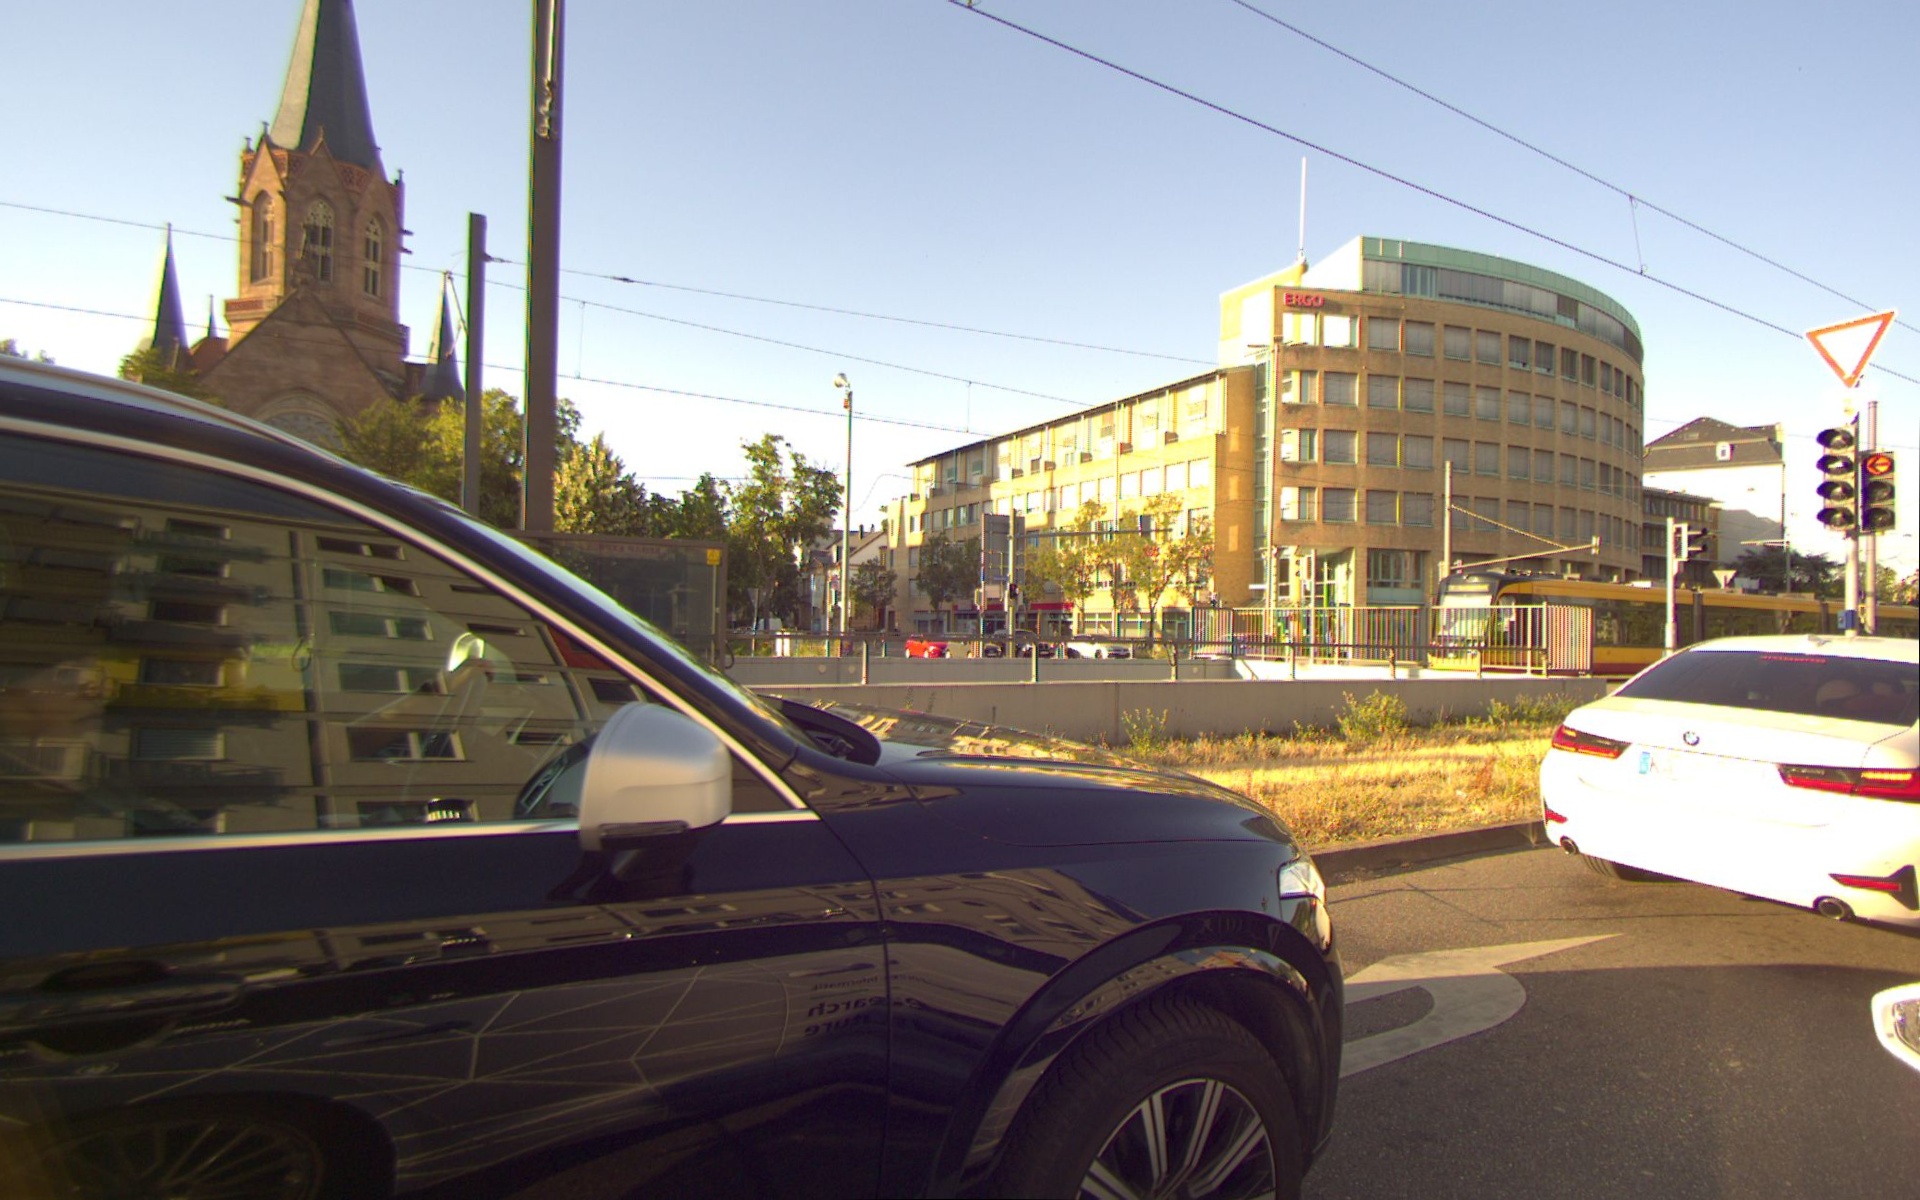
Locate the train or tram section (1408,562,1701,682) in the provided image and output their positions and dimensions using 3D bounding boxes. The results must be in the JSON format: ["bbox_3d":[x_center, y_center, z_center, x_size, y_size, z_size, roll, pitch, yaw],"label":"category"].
[{"bbox_3d":[20.776,0.863,34.558,13.098,3.583,2.759,2,-1,-31],"label":"train or tram section"}]

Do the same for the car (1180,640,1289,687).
[{"bbox_3d":[9.837,2.264,35.934,3.629,1.561,1.703,2,-1,-29],"label":"car"}]

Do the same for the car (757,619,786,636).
[{"bbox_3d":[-23.769,3.498,126.456,2.207,2.040,4.565,2,-1,-30],"label":"car"}]

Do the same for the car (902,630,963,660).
[{"bbox_3d":[-1.571,2.510,56.440,1.804,1.606,3.969,2,-2,-29],"label":"car"}]

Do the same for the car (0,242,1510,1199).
[{"bbox_3d":[-1.388,0.526,1.690,4.798,1.735,1.940,2,1,-32],"label":"car"}]

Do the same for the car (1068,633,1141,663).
[{"bbox_3d":[7.465,2.457,52.196,1.877,1.439,3.974,2,-2,-26],"label":"car"}]

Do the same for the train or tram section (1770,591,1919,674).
[{"bbox_3d":[42.178,1.561,47.372,10.448,3.583,2.759,2,-1,-31],"label":"train or tram section"}]

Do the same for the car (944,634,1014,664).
[{"bbox_3d":[0.922,2.507,51.769,1.880,1.439,3.970,2,-2,-29],"label":"car"}]

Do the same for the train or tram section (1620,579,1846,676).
[{"bbox_3d":[32.055,1.207,41.322,13.098,3.583,2.759,2,-1,-31],"label":"train or tram section"}]

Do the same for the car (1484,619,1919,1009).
[{"bbox_3d":[5.268,0.909,5.767,4.530,1.419,1.829,2,1,-30],"label":"car"}]

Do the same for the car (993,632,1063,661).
[{"bbox_3d":[3.546,2.455,53.193,1.880,1.439,3.970,2,-2,-29],"label":"car"}]

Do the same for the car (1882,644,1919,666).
[{"bbox_3d":[61.408,3.542,64.950,3.695,1.298,1.638,2,-1,-30],"label":"car"}]
